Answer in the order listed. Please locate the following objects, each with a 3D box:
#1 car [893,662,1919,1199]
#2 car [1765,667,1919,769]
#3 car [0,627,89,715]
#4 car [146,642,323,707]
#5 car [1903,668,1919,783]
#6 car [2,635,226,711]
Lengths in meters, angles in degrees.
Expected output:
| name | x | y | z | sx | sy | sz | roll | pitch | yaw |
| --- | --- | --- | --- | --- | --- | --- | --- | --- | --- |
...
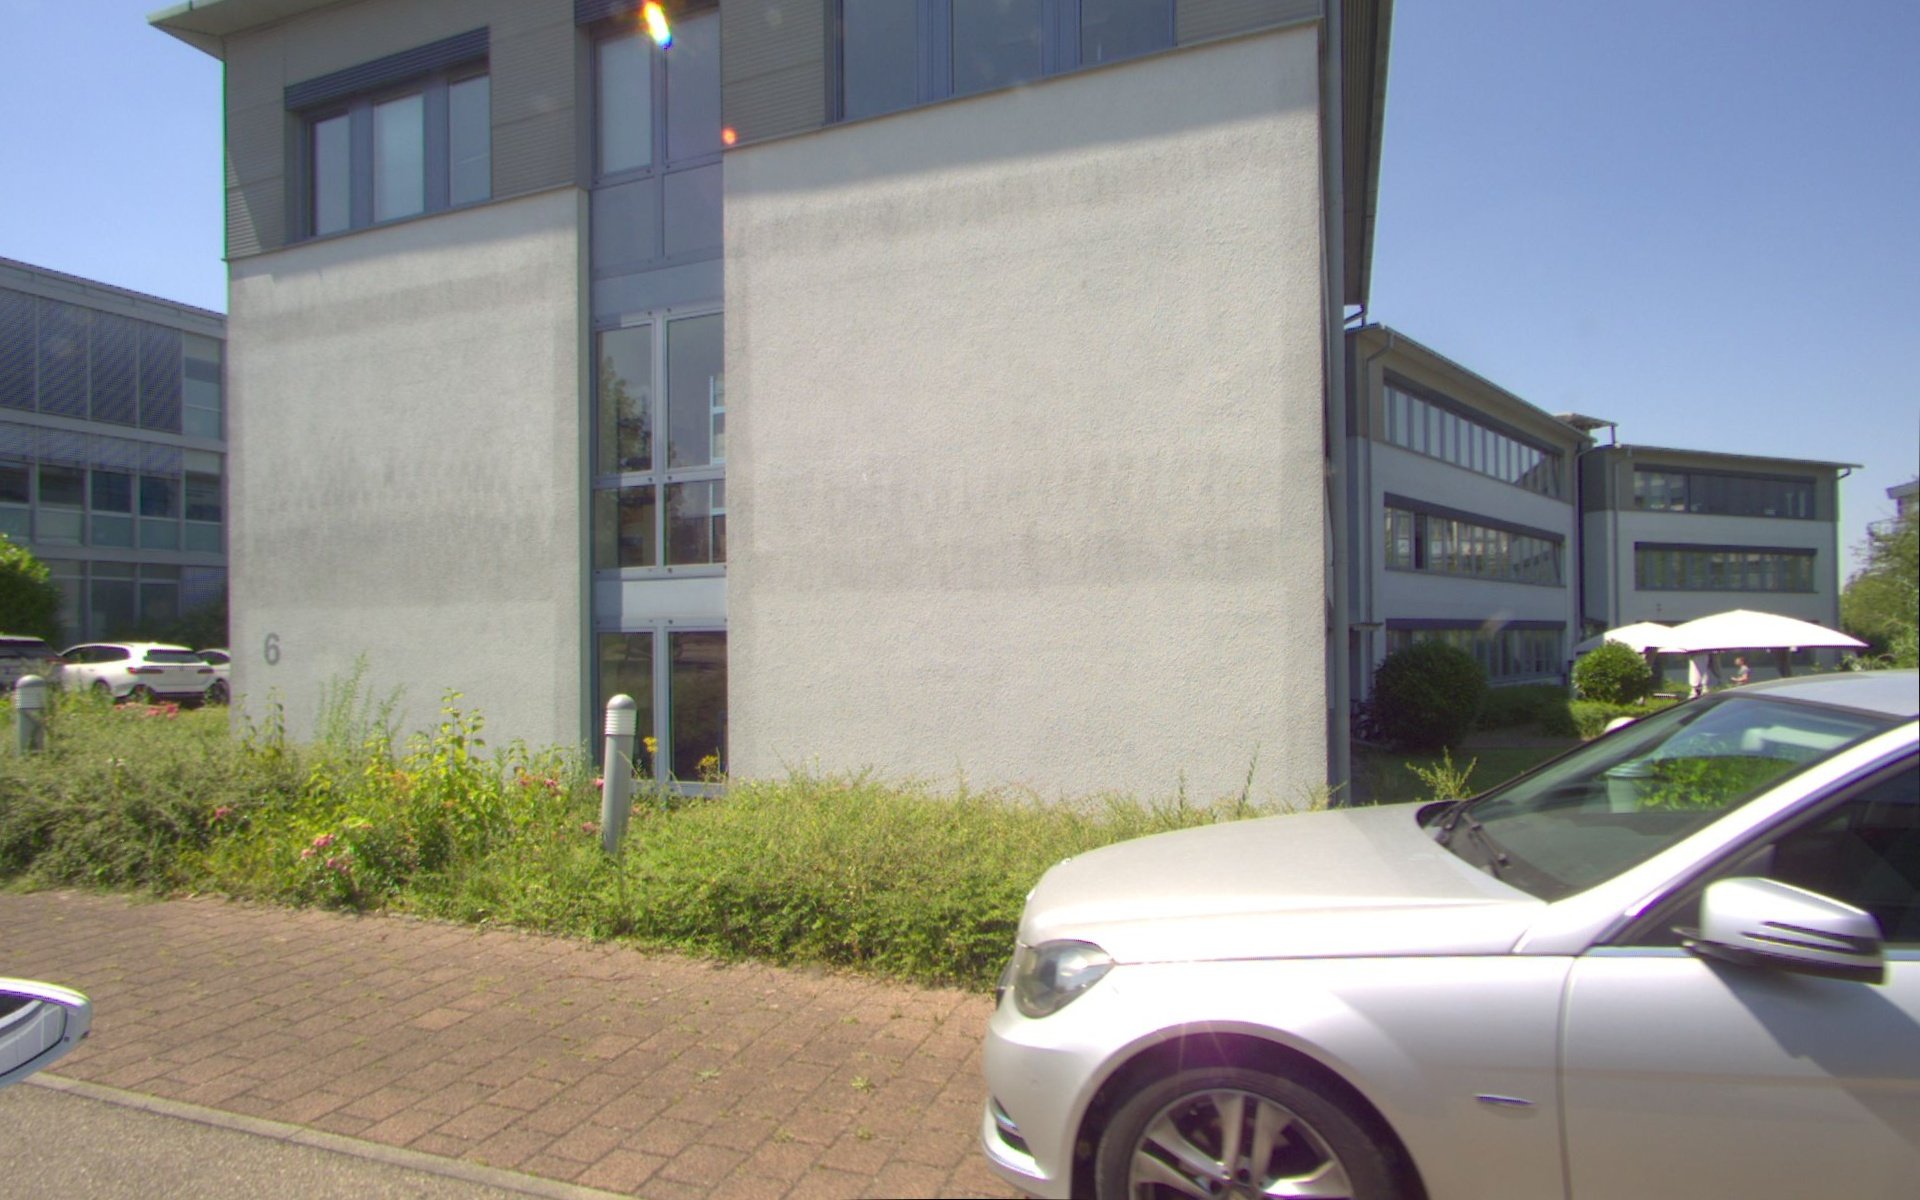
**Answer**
| name | x | y | z | sx | sy | sz | roll | pitch | yaw |
| --- | --- | --- | --- | --- | --- | --- | --- | --- | --- |
| car | 2.185 | 0.880 | 2.370 | 4.344 | 1.415 | 1.802 | -1 | -3 | 21 |
| car | 15.776 | 1.847 | 15.681 | 4.530 | 1.512 | 1.855 | 0 | -3 | 18 |
| car | -20.150 | 1.369 | 20.239 | 4.260 | 1.640 | 1.824 | 0 | -2 | 17 |
| car | -18.096 | 1.815 | 24.962 | 4.270 | 1.447 | 1.737 | 0 | -3 | 26 |
| car | 14.819 | 1.649 | 12.254 | 4.348 | 1.538 | 1.855 | 0 | -3 | 18 |
| car | -18.975 | 1.614 | 22.493 | 4.260 | 1.510 | 1.741 | 0 | -3 | 17 |
